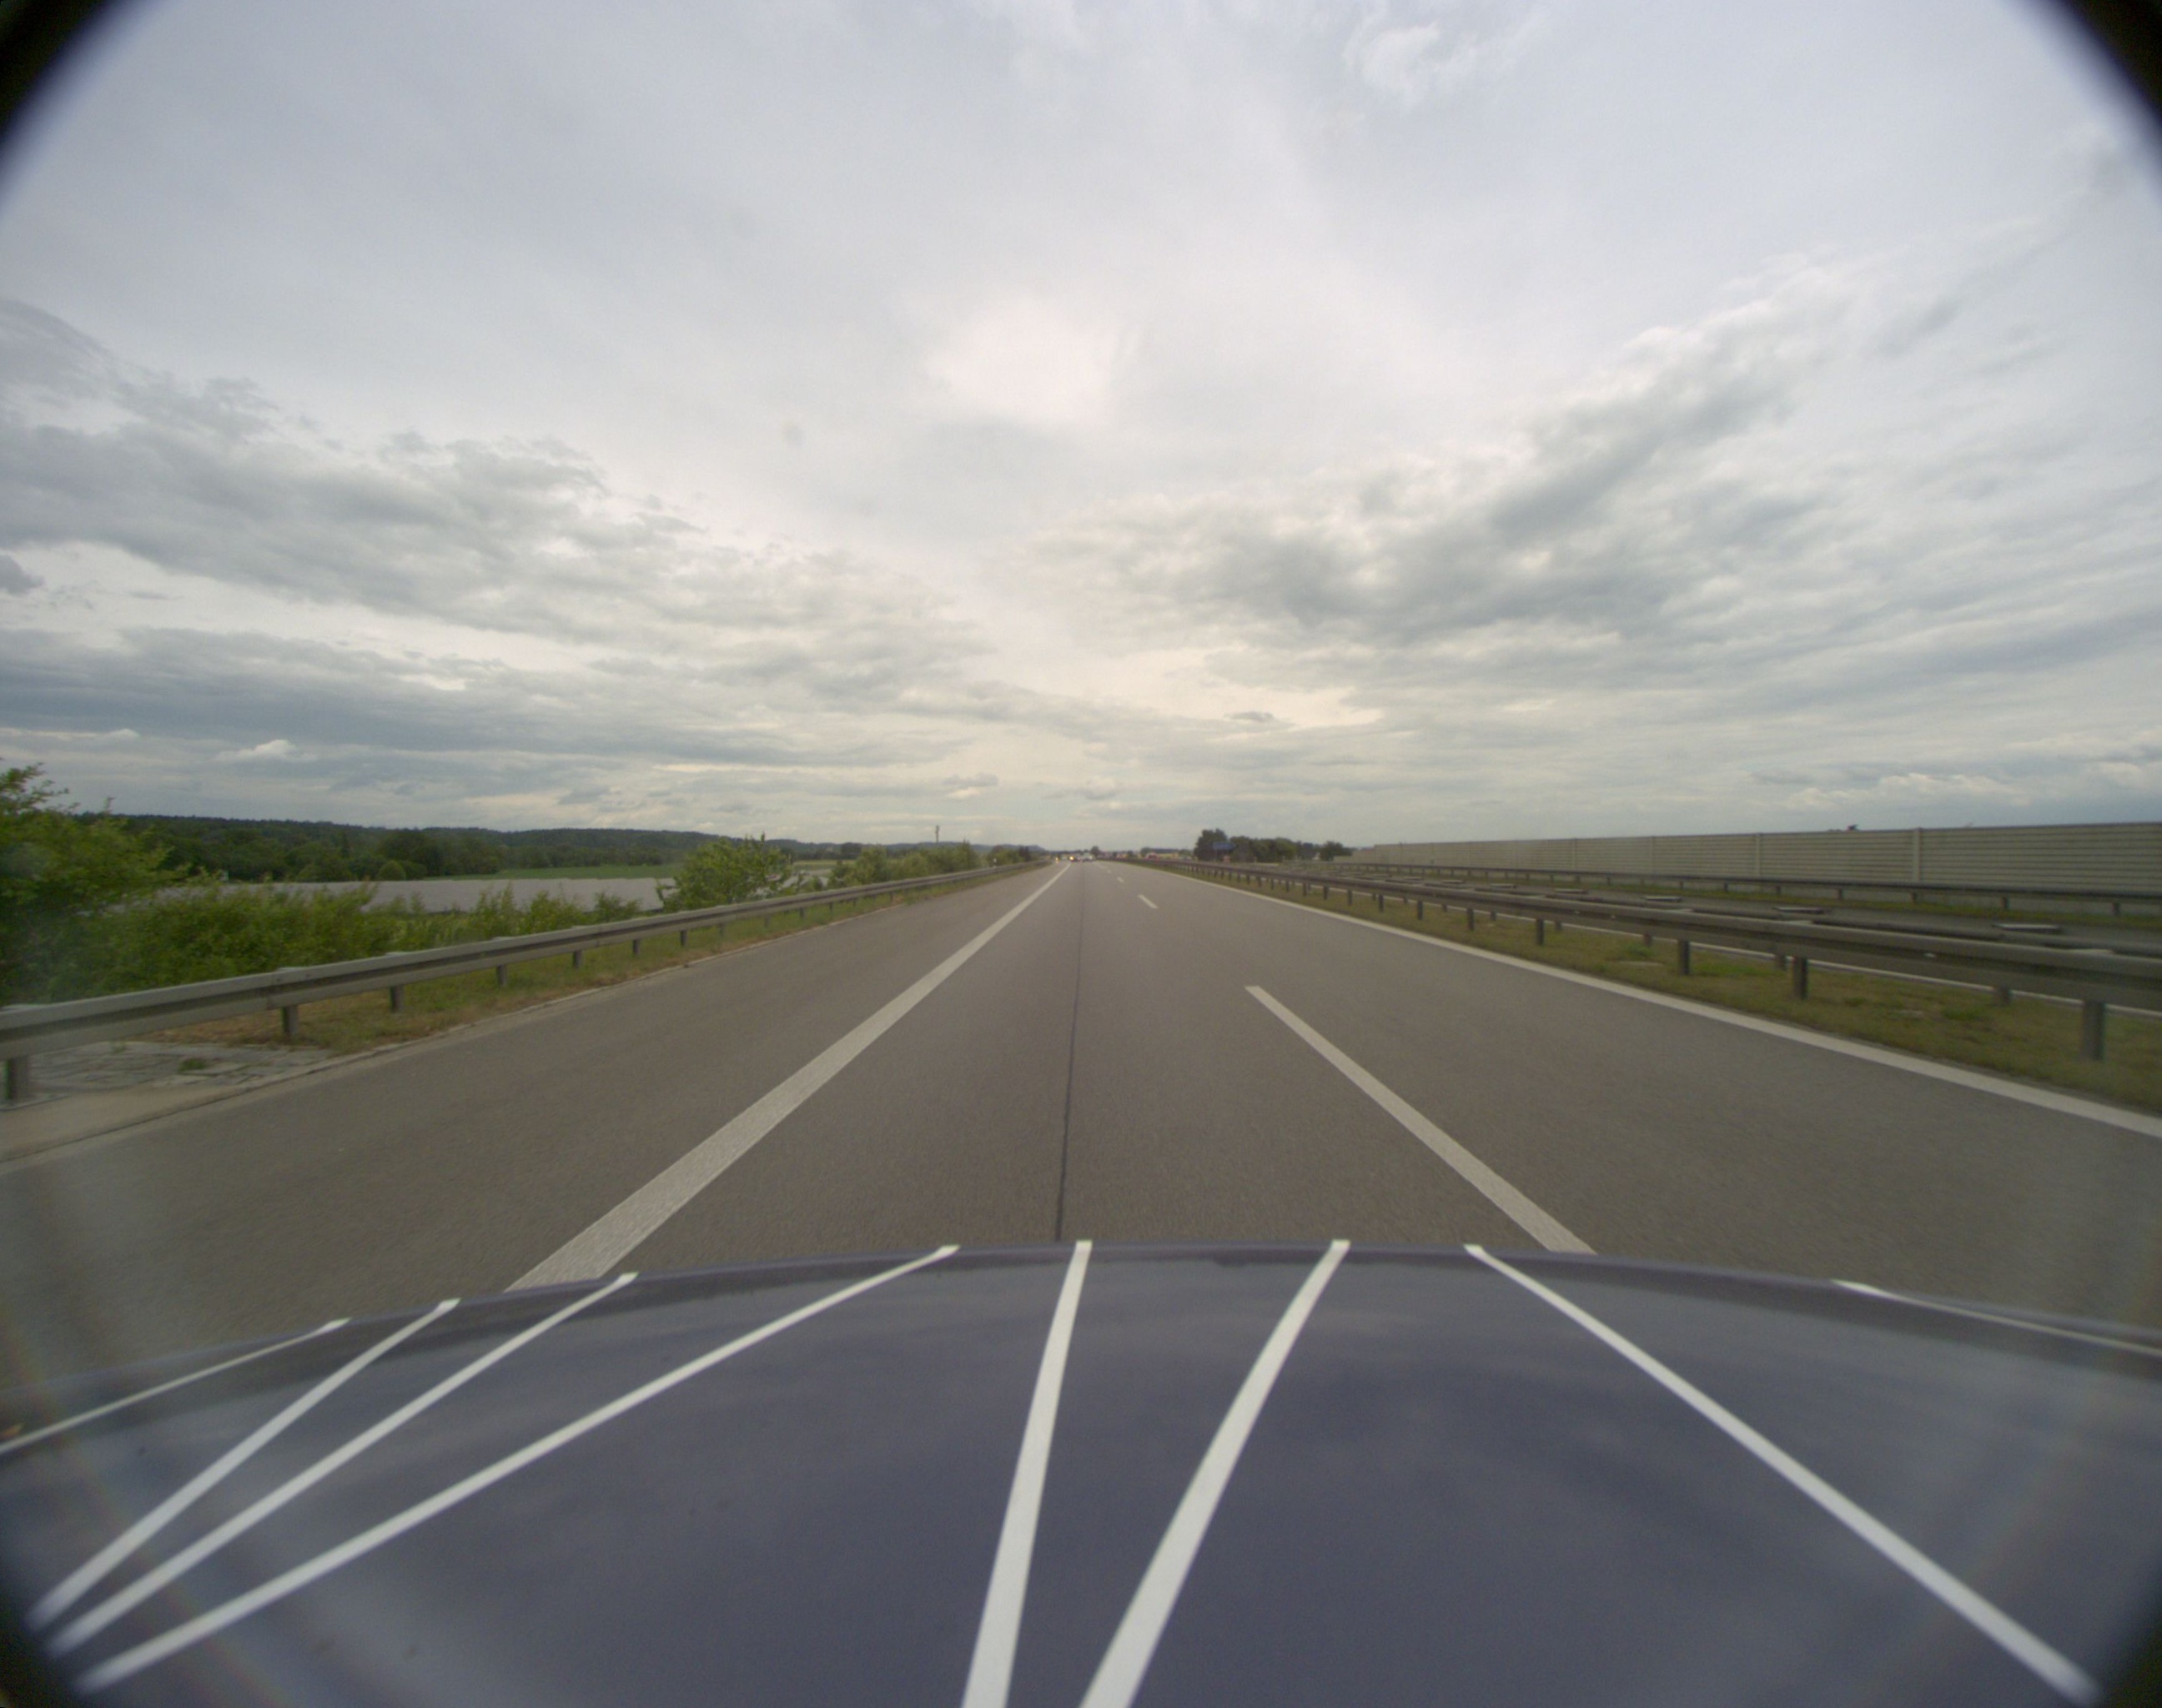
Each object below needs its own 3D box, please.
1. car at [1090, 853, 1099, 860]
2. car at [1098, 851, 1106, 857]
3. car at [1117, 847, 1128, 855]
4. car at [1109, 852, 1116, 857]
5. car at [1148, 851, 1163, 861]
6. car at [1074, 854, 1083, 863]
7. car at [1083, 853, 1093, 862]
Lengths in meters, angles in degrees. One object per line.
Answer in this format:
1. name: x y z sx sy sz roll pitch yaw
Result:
1. car: 3.070 0.520 174.217 1.850 1.665 4.199 0 0 0
2. car: 7.504 -0.076 266.413 2.141 1.579 4.996 -15 3 -1
3. car: 9.874 -0.741 181.065 2.075 1.735 4.961 1 -1 0
4. car: 9.406 0.138 226.801 1.804 1.385 4.000 -2 0 -1
5. car: 11.374 0.226 116.116 1.792 1.442 5.173 -2 0 0
6. car: -0.540 0.989 156.757 1.851 1.850 3.999 0 0 -2
7. car: 1.225 0.682 139.949 1.850 1.665 4.199 0 0 0
